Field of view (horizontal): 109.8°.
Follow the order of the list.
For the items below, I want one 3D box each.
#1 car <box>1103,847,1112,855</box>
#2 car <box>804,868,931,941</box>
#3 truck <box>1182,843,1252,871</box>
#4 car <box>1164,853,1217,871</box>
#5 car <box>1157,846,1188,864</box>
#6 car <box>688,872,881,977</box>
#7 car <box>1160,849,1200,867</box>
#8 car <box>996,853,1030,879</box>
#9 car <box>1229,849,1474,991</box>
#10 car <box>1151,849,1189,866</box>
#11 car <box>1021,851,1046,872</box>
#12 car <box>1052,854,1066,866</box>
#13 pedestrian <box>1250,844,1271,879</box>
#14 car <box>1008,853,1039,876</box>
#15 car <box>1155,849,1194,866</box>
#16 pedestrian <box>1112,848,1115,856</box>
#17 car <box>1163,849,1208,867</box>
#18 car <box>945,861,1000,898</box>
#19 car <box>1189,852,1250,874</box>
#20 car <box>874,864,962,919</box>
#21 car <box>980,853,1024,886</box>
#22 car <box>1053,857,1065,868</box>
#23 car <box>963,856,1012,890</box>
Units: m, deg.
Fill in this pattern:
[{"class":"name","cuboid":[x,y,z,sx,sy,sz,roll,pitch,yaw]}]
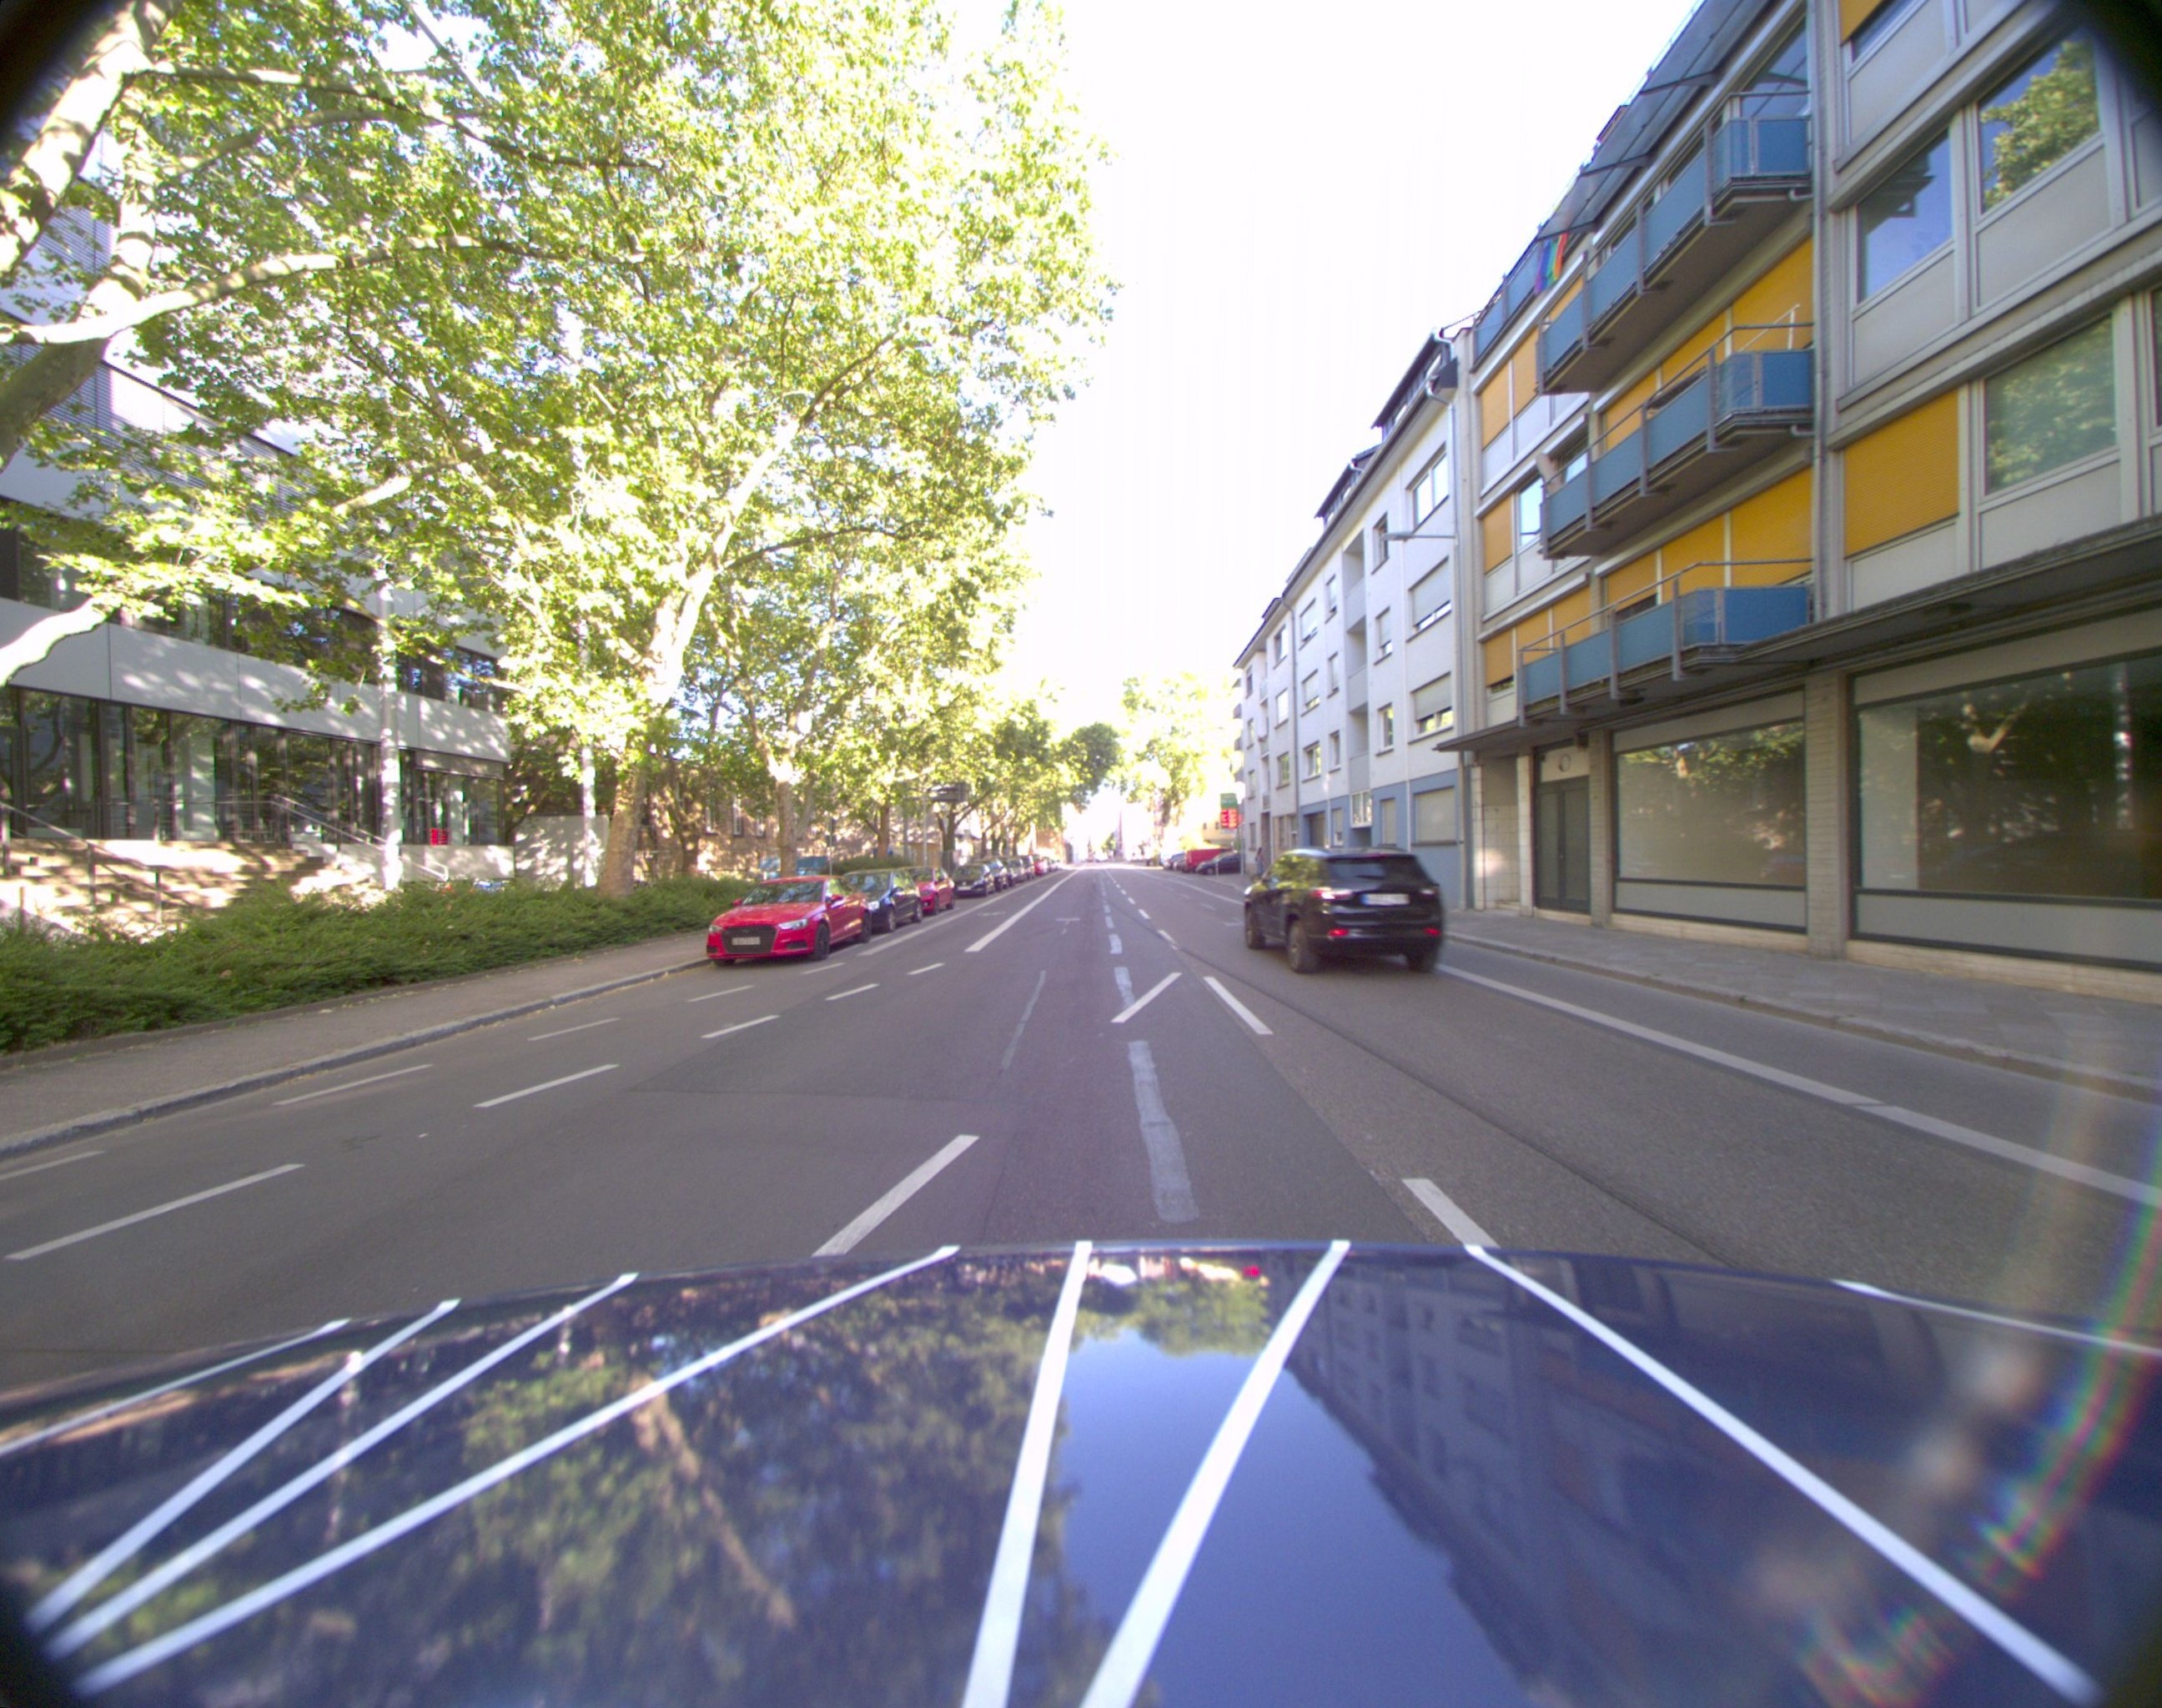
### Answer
[{"class":"car","cuboid":[6.757,-0.809,193.471,1.998,2.002,3.999,-2,1,1]},{"class":"car","cuboid":[-5.012,1.129,18.464,1.813,1.449,4.000,-1,0,2]},{"class":"truck","cuboid":[10.724,0.232,60.105,5.088,2.009,2.000,-2,1,0]},{"class":"car","cuboid":[9.012,0.649,62.816,4.033,1.265,1.906,-2,1,-1]},{"class":"car","cuboid":[10.224,0.101,85.215,3.267,1.927,1.693,-2,1,2]},{"class":"car","cuboid":[-5.082,1.129,13.706,1.775,1.416,4.173,-3,0,0]},{"class":"car","cuboid":[9.876,0.375,75.920,3.658,1.578,1.659,-2,1,-5]},{"class":"car","cuboid":[-4.444,0.736,50.463,1.798,1.608,4.075,-1,0,1]},{"class":"car","cuboid":[3.567,0.752,10.990,1.855,1.561,4.384,-2,1,-1]},{"class":"car","cuboid":[9.482,0.367,80.869,3.728,1.579,1.743,-2,1,-5]},{"class":"car","cuboid":[-4.111,0.611,66.189,1.876,1.685,4.166,-1,0,1]},{"class":"car","cuboid":[-2.969,0.809,102.945,1.707,1.459,3.809,-1,0,0]},{"class":"pedestrian","cuboid":[9.381,0.395,39.743,0.896,1.761,0.741,-2,1,1]},{"class":"car","cuboid":[-4.172,0.747,55.519,1.831,1.608,4.177,-1,0,1]},{"class":"car","cuboid":[9.611,0.371,78.578,3.703,1.573,1.718,-2,1,-5]},{"class":"pedestrian","cuboid":[8.497,-0.515,197.774,0.614,1.981,0.711,-2,1,11]},{"class":"car","cuboid":[10.078,0.385,73.372,3.998,1.618,1.702,-2,1,-5]},{"class":"car","cuboid":[-4.679,1.080,33.272,1.745,1.430,4.000,-1,0,1]},{"class":"car","cuboid":[9.940,0.607,54.820,3.997,1.385,1.781,-2,1,-1]},{"class":"car","cuboid":[-4.970,1.097,23.644,1.790,1.429,4.000,-1,0,1]},{"class":"car","cuboid":[-4.548,0.865,44.202,1.998,1.715,4.262,-2,1,1]},{"class":"car","cuboid":[-2.632,1.023,92.340,1.300,1.220,3.241,-1,1,0]},{"class":"car","cuboid":[-4.625,0.918,38.218,1.848,1.572,4.232,-2,0,1]}]
